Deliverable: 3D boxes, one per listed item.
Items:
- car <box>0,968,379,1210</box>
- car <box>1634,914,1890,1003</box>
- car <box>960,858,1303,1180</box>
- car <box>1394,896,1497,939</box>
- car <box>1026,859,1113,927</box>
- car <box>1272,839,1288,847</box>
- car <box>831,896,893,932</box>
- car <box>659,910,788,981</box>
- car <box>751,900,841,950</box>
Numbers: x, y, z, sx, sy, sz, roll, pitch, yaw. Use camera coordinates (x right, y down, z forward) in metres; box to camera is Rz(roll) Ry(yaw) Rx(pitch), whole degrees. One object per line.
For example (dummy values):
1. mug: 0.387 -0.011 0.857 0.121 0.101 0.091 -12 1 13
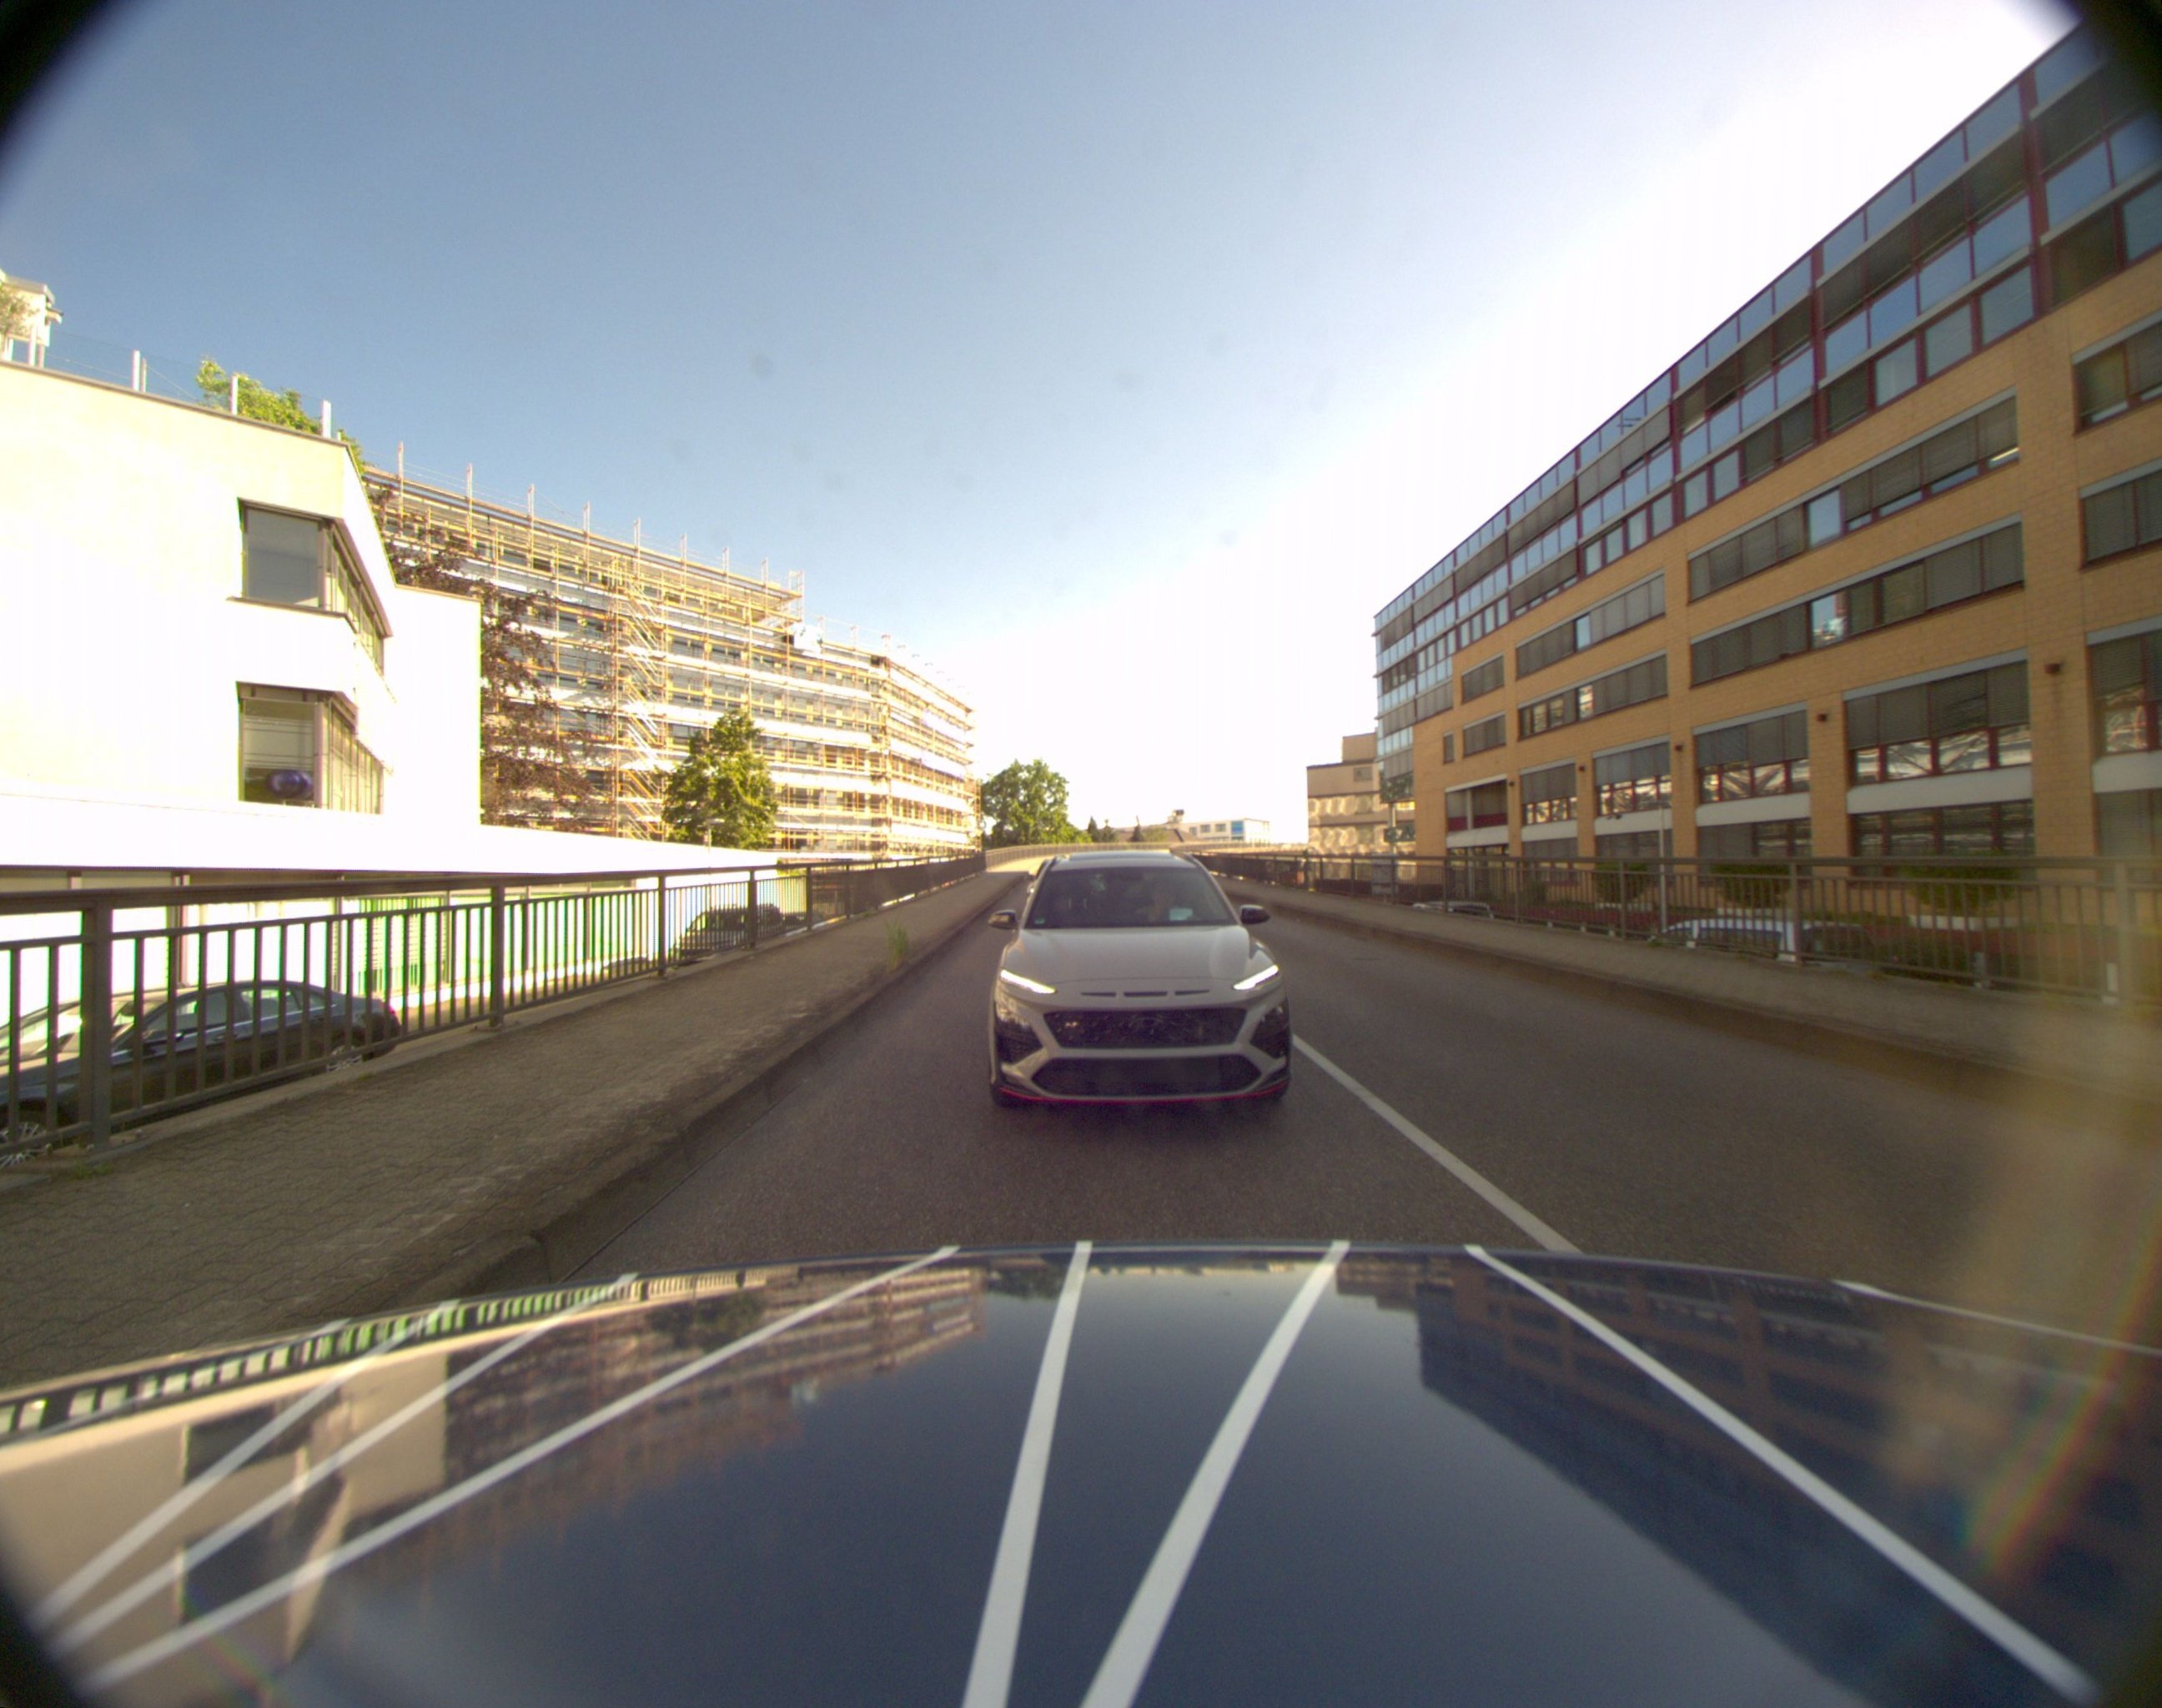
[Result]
1. car: -9.599 2.171 7.413 1.726 1.513 4.001 -2 -1 1
2. car: 13.047 1.941 14.917 1.580 1.261 3.809 0 -1 -1
3. car: 0.286 0.870 5.888 1.749 1.637 4.001 0 -1 1
4. car: 12.740 2.196 26.824 1.766 1.261 3.809 0 -1 -1
5. car: -0.303 0.875 18.830 1.902 1.433 4.126 0 0 -1
6. car: 39.376 -2.192 150.235 1.947 1.456 4.008 5 3 33
7. car: -10.214 2.778 35.672 1.726 1.383 4.000 -2 -1 -1
8. car: -9.910 2.476 21.424 1.726 1.513 4.000 -2 -1 -1
9. car: -10.091 2.483 27.212 1.726 1.383 4.000 -2 -1 -1
